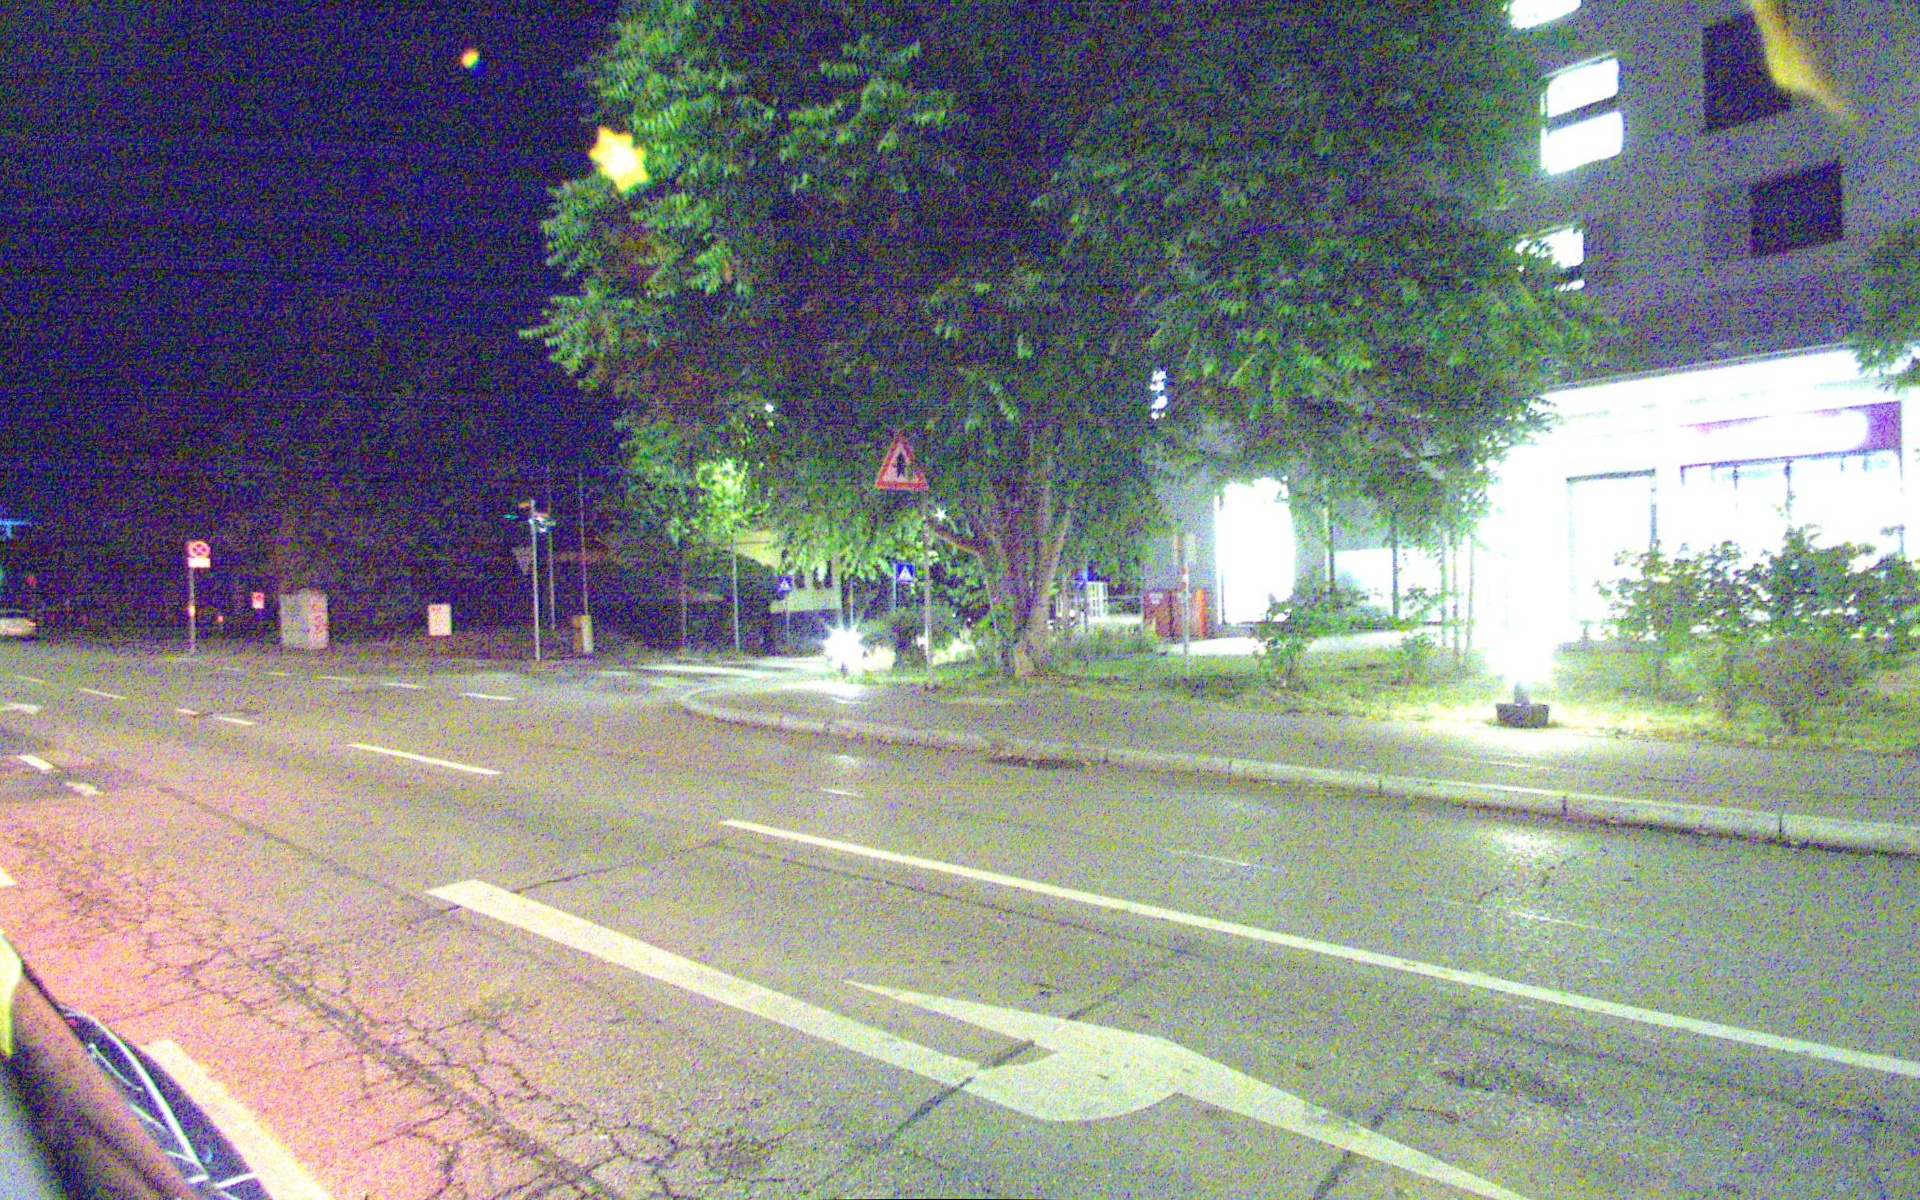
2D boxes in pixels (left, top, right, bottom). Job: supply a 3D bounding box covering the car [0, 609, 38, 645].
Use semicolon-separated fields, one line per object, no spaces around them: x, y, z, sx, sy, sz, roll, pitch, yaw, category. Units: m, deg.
-43.260;1.201;45.766;3.998;1.464;1.887;1;2;41;car
